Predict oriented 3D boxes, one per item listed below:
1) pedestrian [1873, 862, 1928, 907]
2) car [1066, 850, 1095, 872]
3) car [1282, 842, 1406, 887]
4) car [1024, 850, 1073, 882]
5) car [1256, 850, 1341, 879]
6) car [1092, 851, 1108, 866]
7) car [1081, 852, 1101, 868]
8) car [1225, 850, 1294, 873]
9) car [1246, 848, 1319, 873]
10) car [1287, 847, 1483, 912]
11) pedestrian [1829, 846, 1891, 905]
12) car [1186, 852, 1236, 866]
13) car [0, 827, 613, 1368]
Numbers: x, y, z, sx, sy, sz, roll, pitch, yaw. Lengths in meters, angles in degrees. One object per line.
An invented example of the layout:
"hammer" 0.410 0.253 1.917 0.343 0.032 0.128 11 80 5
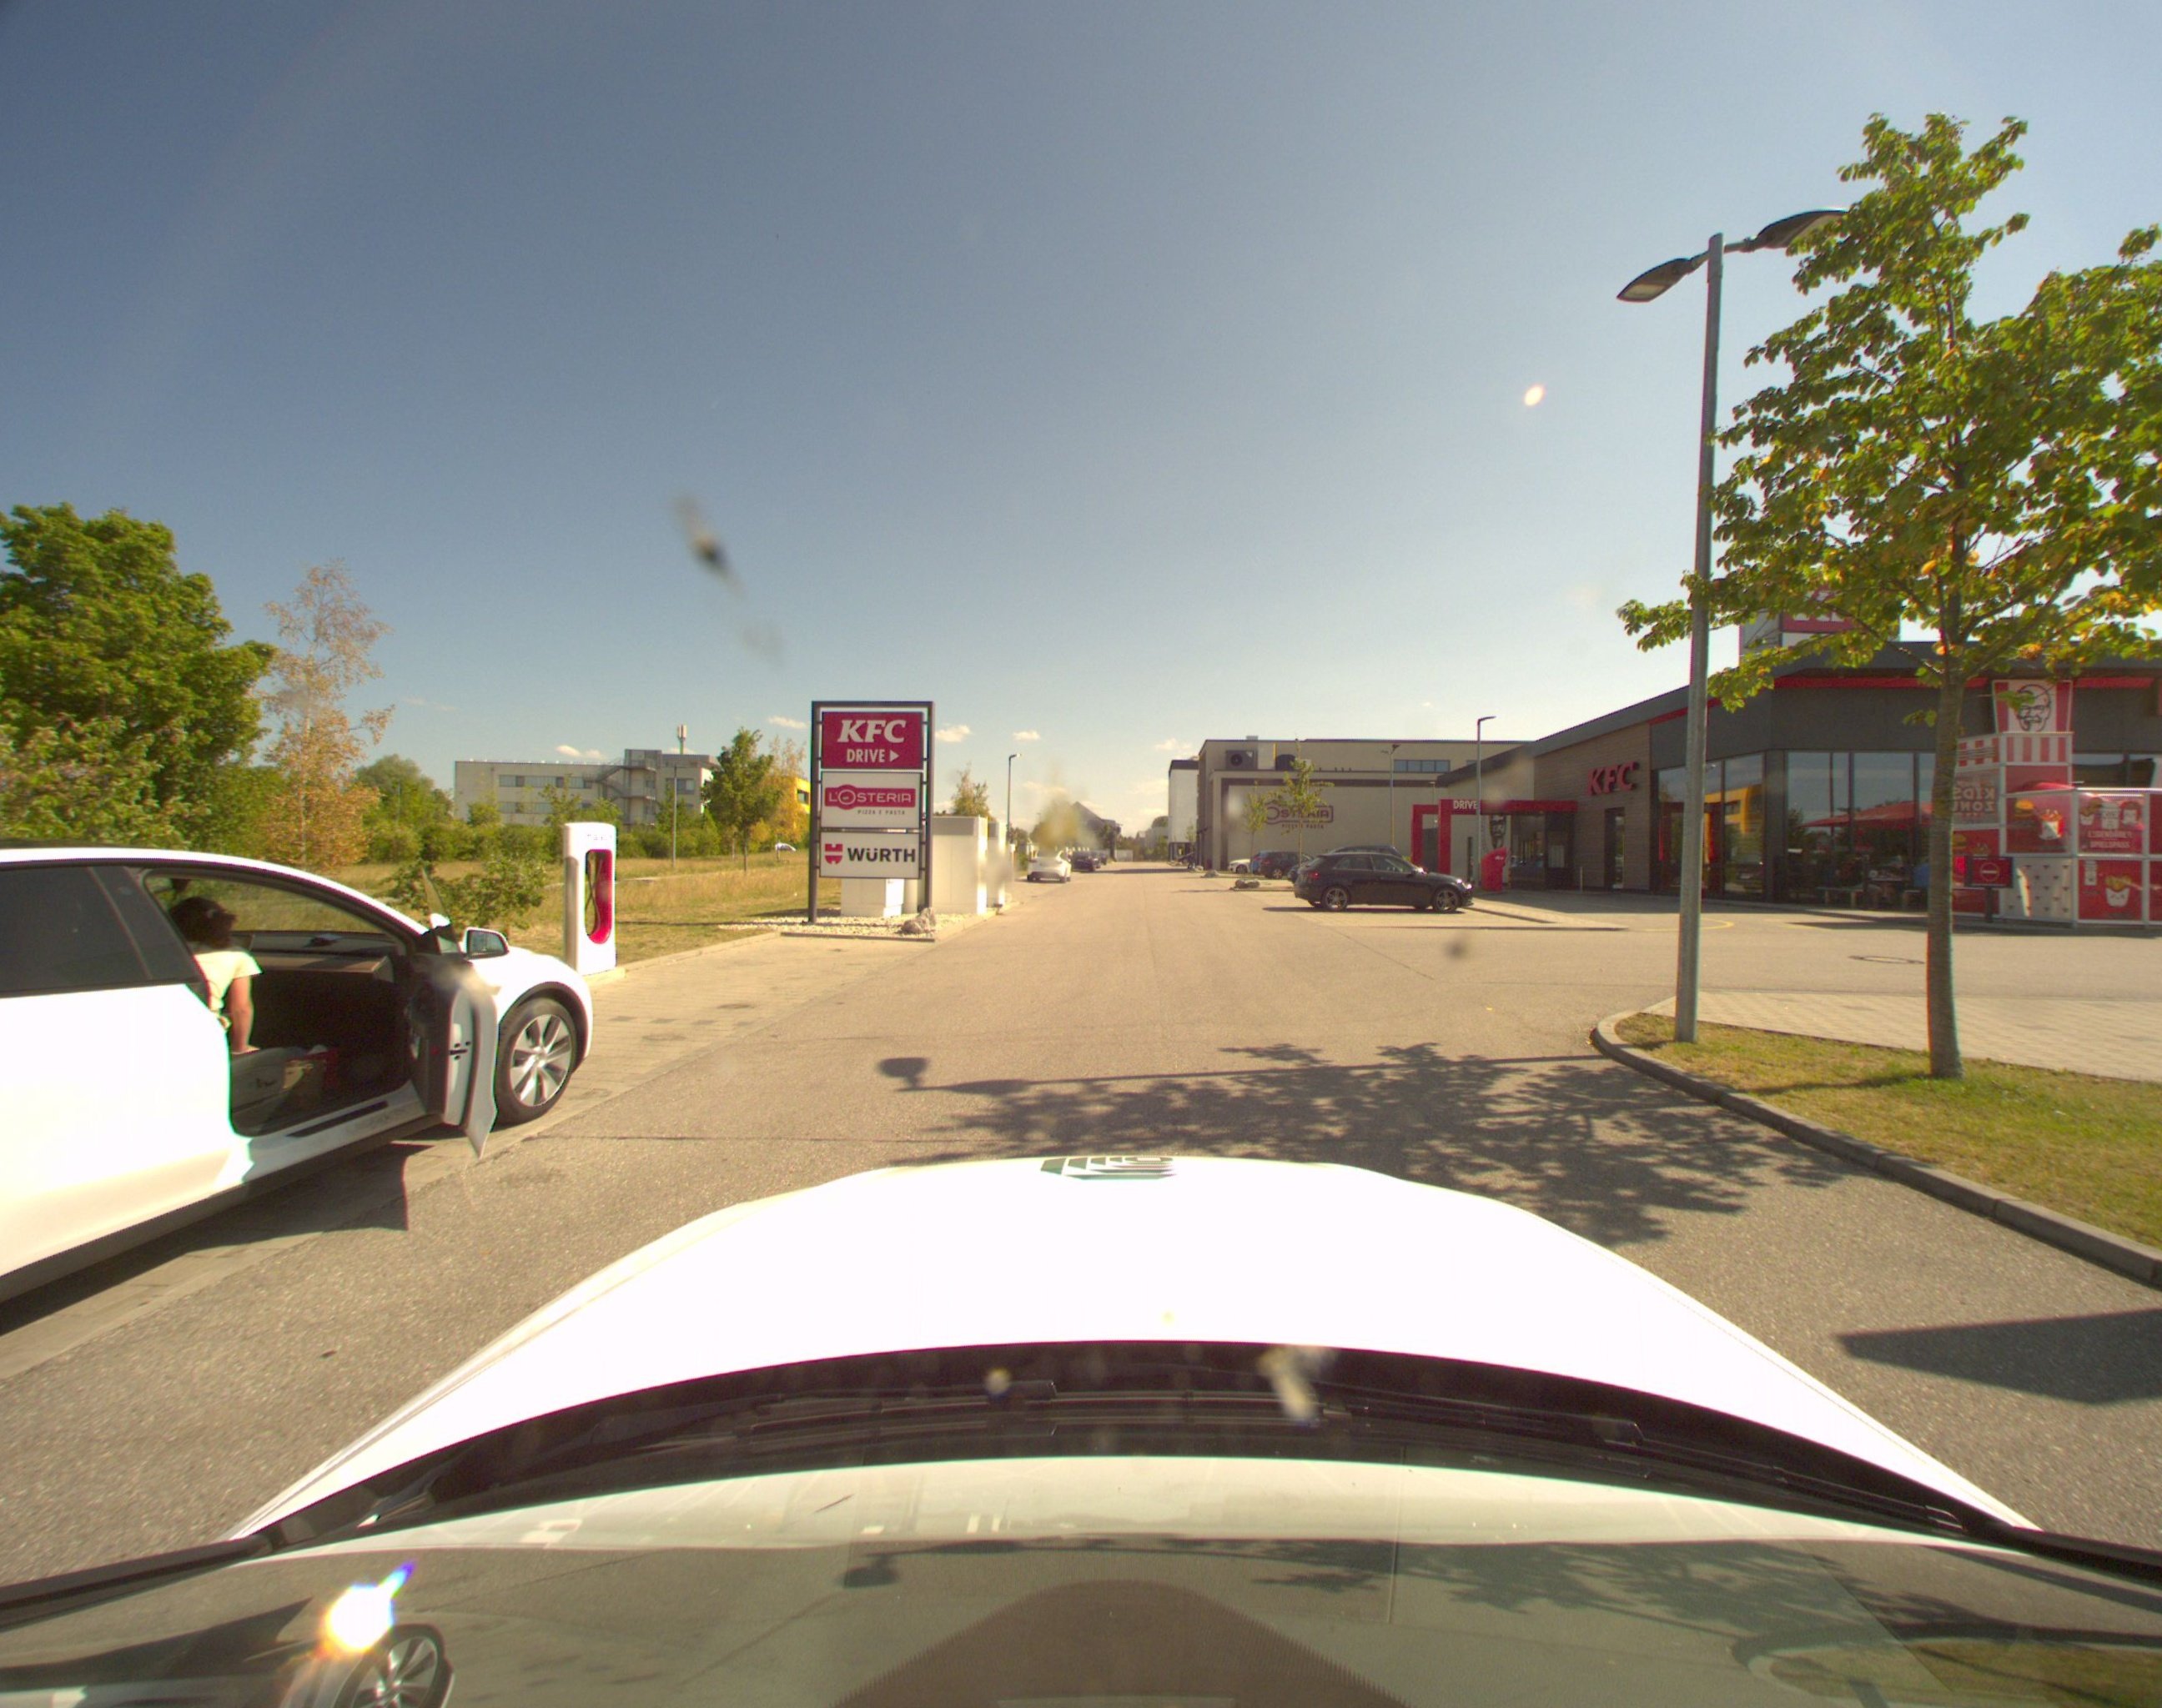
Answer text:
"pedestrian" 19.984 0.742 19.864 0.713 1.071 0.629 0 0 1
"car" 0.008 0.510 63.002 1.936 1.568 4.004 1 0 3
"car" 10.231 0.397 31.880 4.357 1.685 1.641 1 0 -2
"car" -1.599 0.574 41.591 1.935 1.568 4.006 1 0 5
"car" 11.131 0.520 41.847 3.973 1.420 1.651 1 0 0
"car" 2.166 0.503 91.811 1.736 1.568 4.002 1 0 2
"car" 0.952 0.505 74.775 1.736 1.387 4.002 1 0 2
"car" 11.259 0.456 51.535 3.973 1.420 1.651 1 0 0
"car" 12.049 0.402 48.852 3.973 1.420 1.651 1 0 0
"car" 7.329 0.591 19.911 4.183 1.441 1.700 1 0 3
"pedestrian" 19.097 0.513 19.986 0.794 1.435 0.773 0 0 1
"car" 10.881 0.426 68.325 3.971 1.156 2.001 0 0 2
"car" -4.100 0.707 3.171 1.857 1.600 4.490 1 0 1
